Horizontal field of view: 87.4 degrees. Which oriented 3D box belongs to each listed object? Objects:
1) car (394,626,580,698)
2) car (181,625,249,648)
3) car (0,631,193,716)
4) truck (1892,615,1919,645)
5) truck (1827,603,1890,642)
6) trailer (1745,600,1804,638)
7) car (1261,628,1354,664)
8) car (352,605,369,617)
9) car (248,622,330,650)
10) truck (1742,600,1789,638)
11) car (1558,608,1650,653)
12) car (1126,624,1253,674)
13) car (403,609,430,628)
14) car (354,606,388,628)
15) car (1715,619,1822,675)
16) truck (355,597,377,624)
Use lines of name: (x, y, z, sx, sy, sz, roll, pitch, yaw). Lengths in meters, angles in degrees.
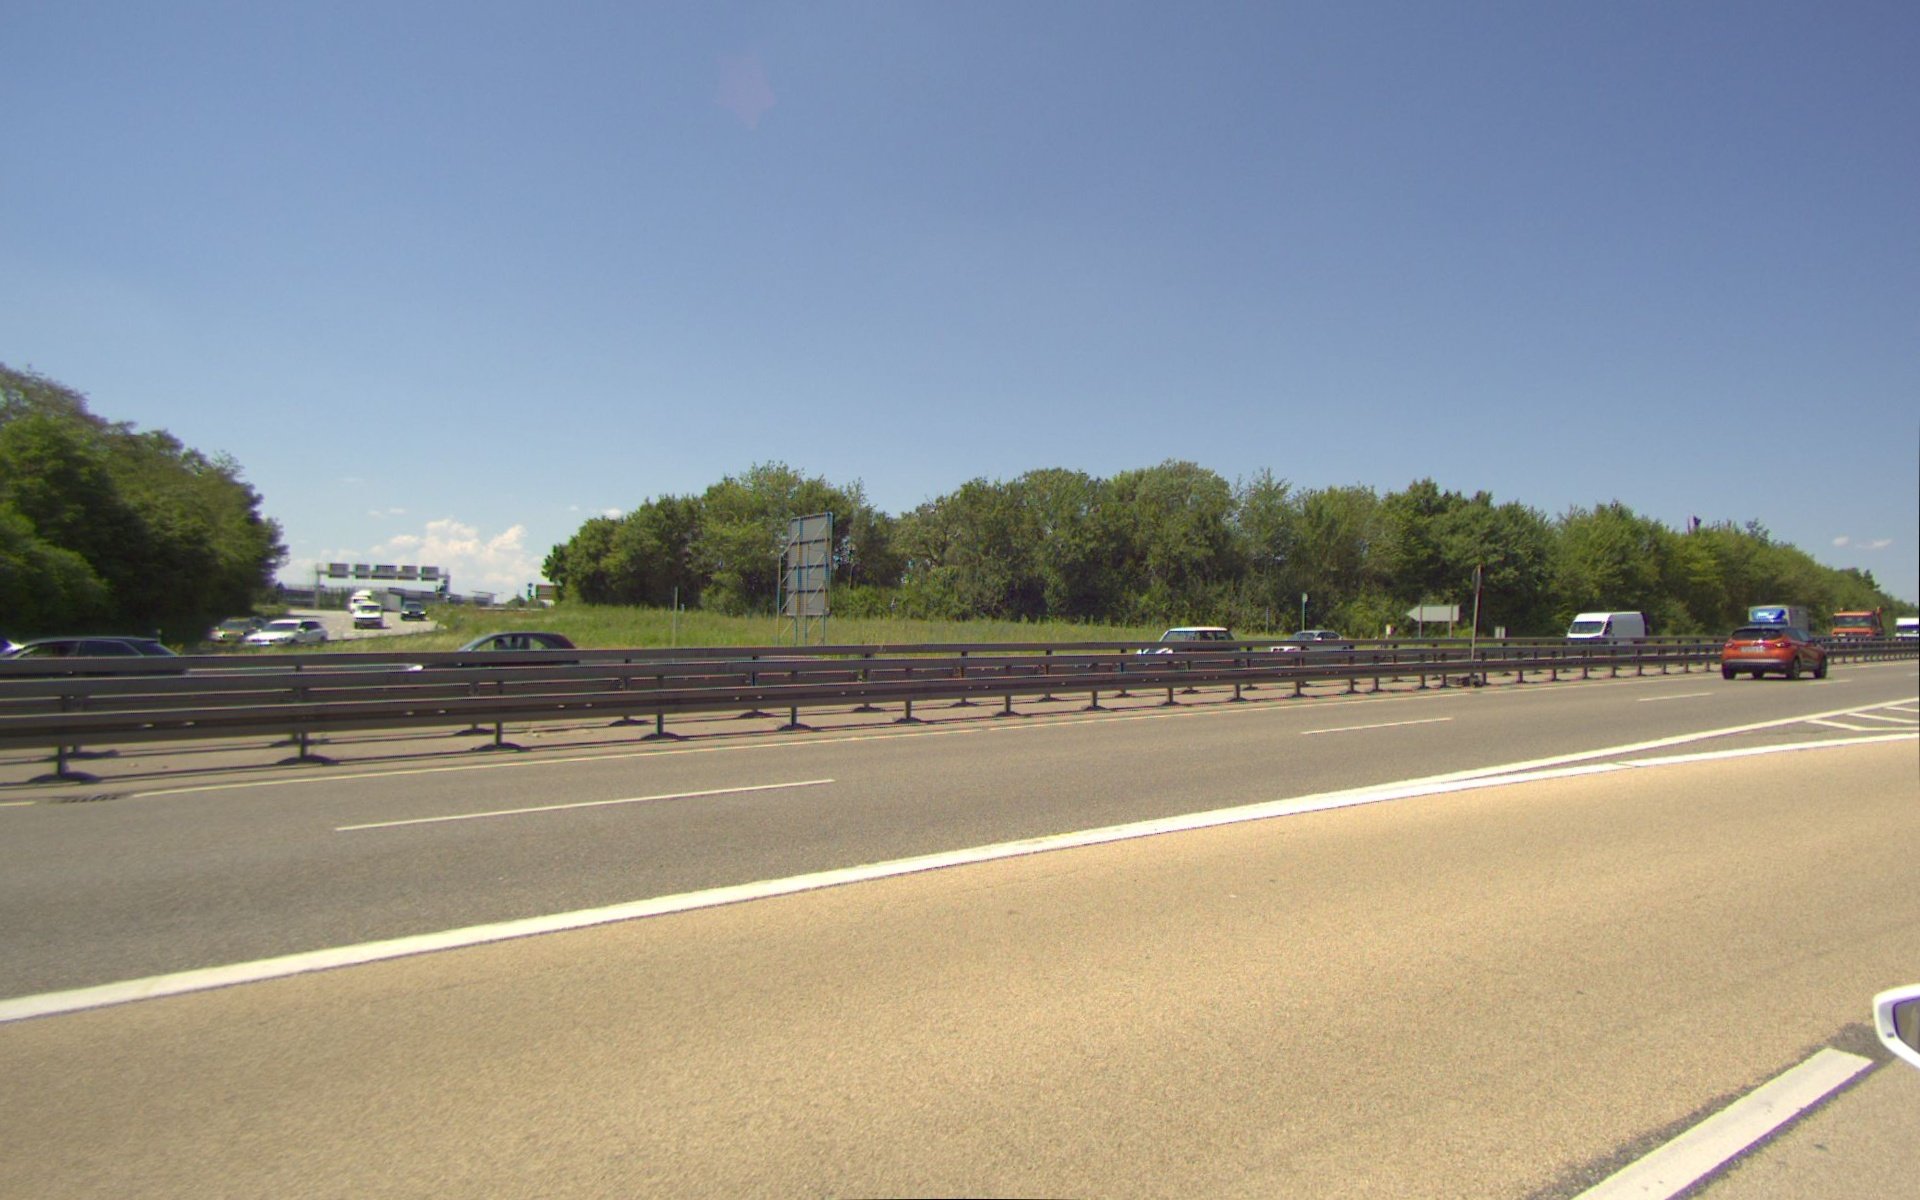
car: (-10.591, 1.333, 22.574, 3.629, 1.469, 1.473, 1, -1, -34)
car: (-39.178, 1.913, 52.915, 1.601, 1.164, 3.171, 0, -1, -9)
car: (-16.272, 1.294, 18.313, 3.534, 1.412, 1.638, 1, -1, -34)
truck: (129.656, 4.155, 137.145, 5.374, 3.991, 2.888, 1, -3, -40)
truck: (74.494, 1.946, 83.224, 8.134, 3.102, 2.575, 2, -3, -39)
trailer: (67.029, 1.554, 82.594, 7.159, 3.049, 2.280, 1, -2, -39)
car: (15.800, 2.053, 45.593, 4.491, 1.504, 1.687, 1, -1, -36)
car: (-63.629, 1.176, 106.541, 1.515, 1.181, 4.042, 1, -2, -31)
car: (-31.228, 1.643, 46.883, 1.678, 1.238, 3.939, 0, -1, -9)
truck: (64.861, 1.547, 80.862, 3.049, 3.049, 2.291, 0, -2, -38)
car: (38.076, 1.766, 59.317, 6.628, 2.571, 2.143, 1, -1, -34)
car: (6.918, 1.431, 30.151, 3.882, 1.365, 1.505, 1, -1, -34)
car: (-50.091, 1.689, 92.591, 1.978, 1.731, 4.181, 0, -1, -32)
car: (-45.561, 1.336, 77.744, 1.992, 1.662, 5.078, 0, -2, -27)
car: (24.043, 1.360, 29.842, 3.349, 1.574, 1.731, 1, -2, -38)
truck: (-94.485, 1.686, 159.796, 2.803, 4.214, 3.962, 0, -1, -34)
